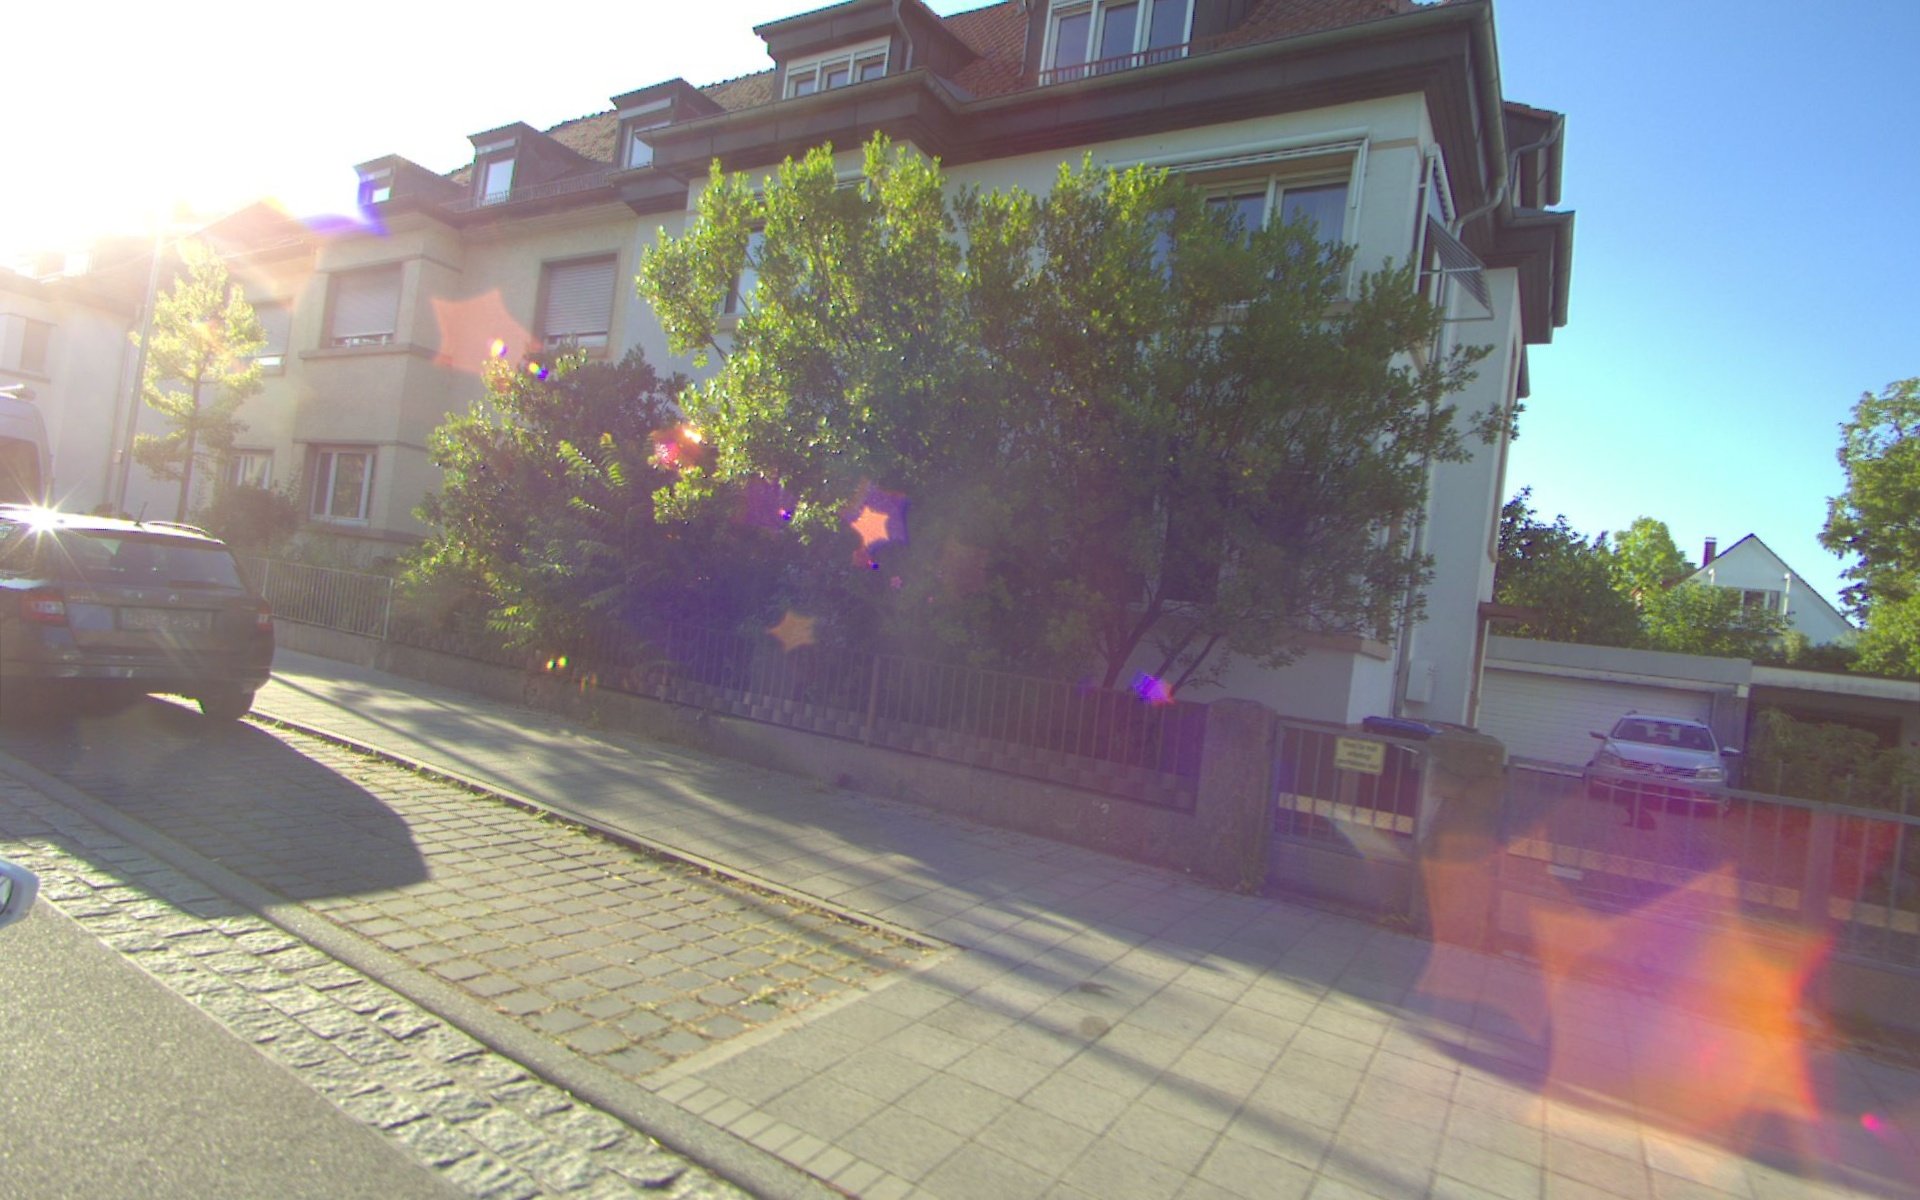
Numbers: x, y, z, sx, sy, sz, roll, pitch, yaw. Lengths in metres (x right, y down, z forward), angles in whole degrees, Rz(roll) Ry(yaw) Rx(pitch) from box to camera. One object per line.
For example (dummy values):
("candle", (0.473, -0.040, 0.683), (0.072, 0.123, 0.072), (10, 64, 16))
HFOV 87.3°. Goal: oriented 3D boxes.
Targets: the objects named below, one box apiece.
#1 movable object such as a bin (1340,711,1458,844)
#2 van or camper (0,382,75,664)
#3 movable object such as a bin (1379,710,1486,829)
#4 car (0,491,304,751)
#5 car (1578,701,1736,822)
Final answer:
("movable object such as a bin", (4.292, 1.706, 9.802), (0.777, 1.112, 0.986), (6, -3, 35))
("van or camper", (-12.498, -1.074, 11.332), (5.842, 2.808, 1.948), (5, -3, 32))
("movable object such as a bin", (5.133, 1.817, 10.906), (0.777, 1.112, 1.086), (6, -3, 35))
("car", (-7.170, 0.010, 7.998), (4.019, 1.613, 1.665), (6, 0, 32))
("car", (11.731, 2.634, 16.918), (1.845, 1.525, 4.149), (6, -3, 36))
